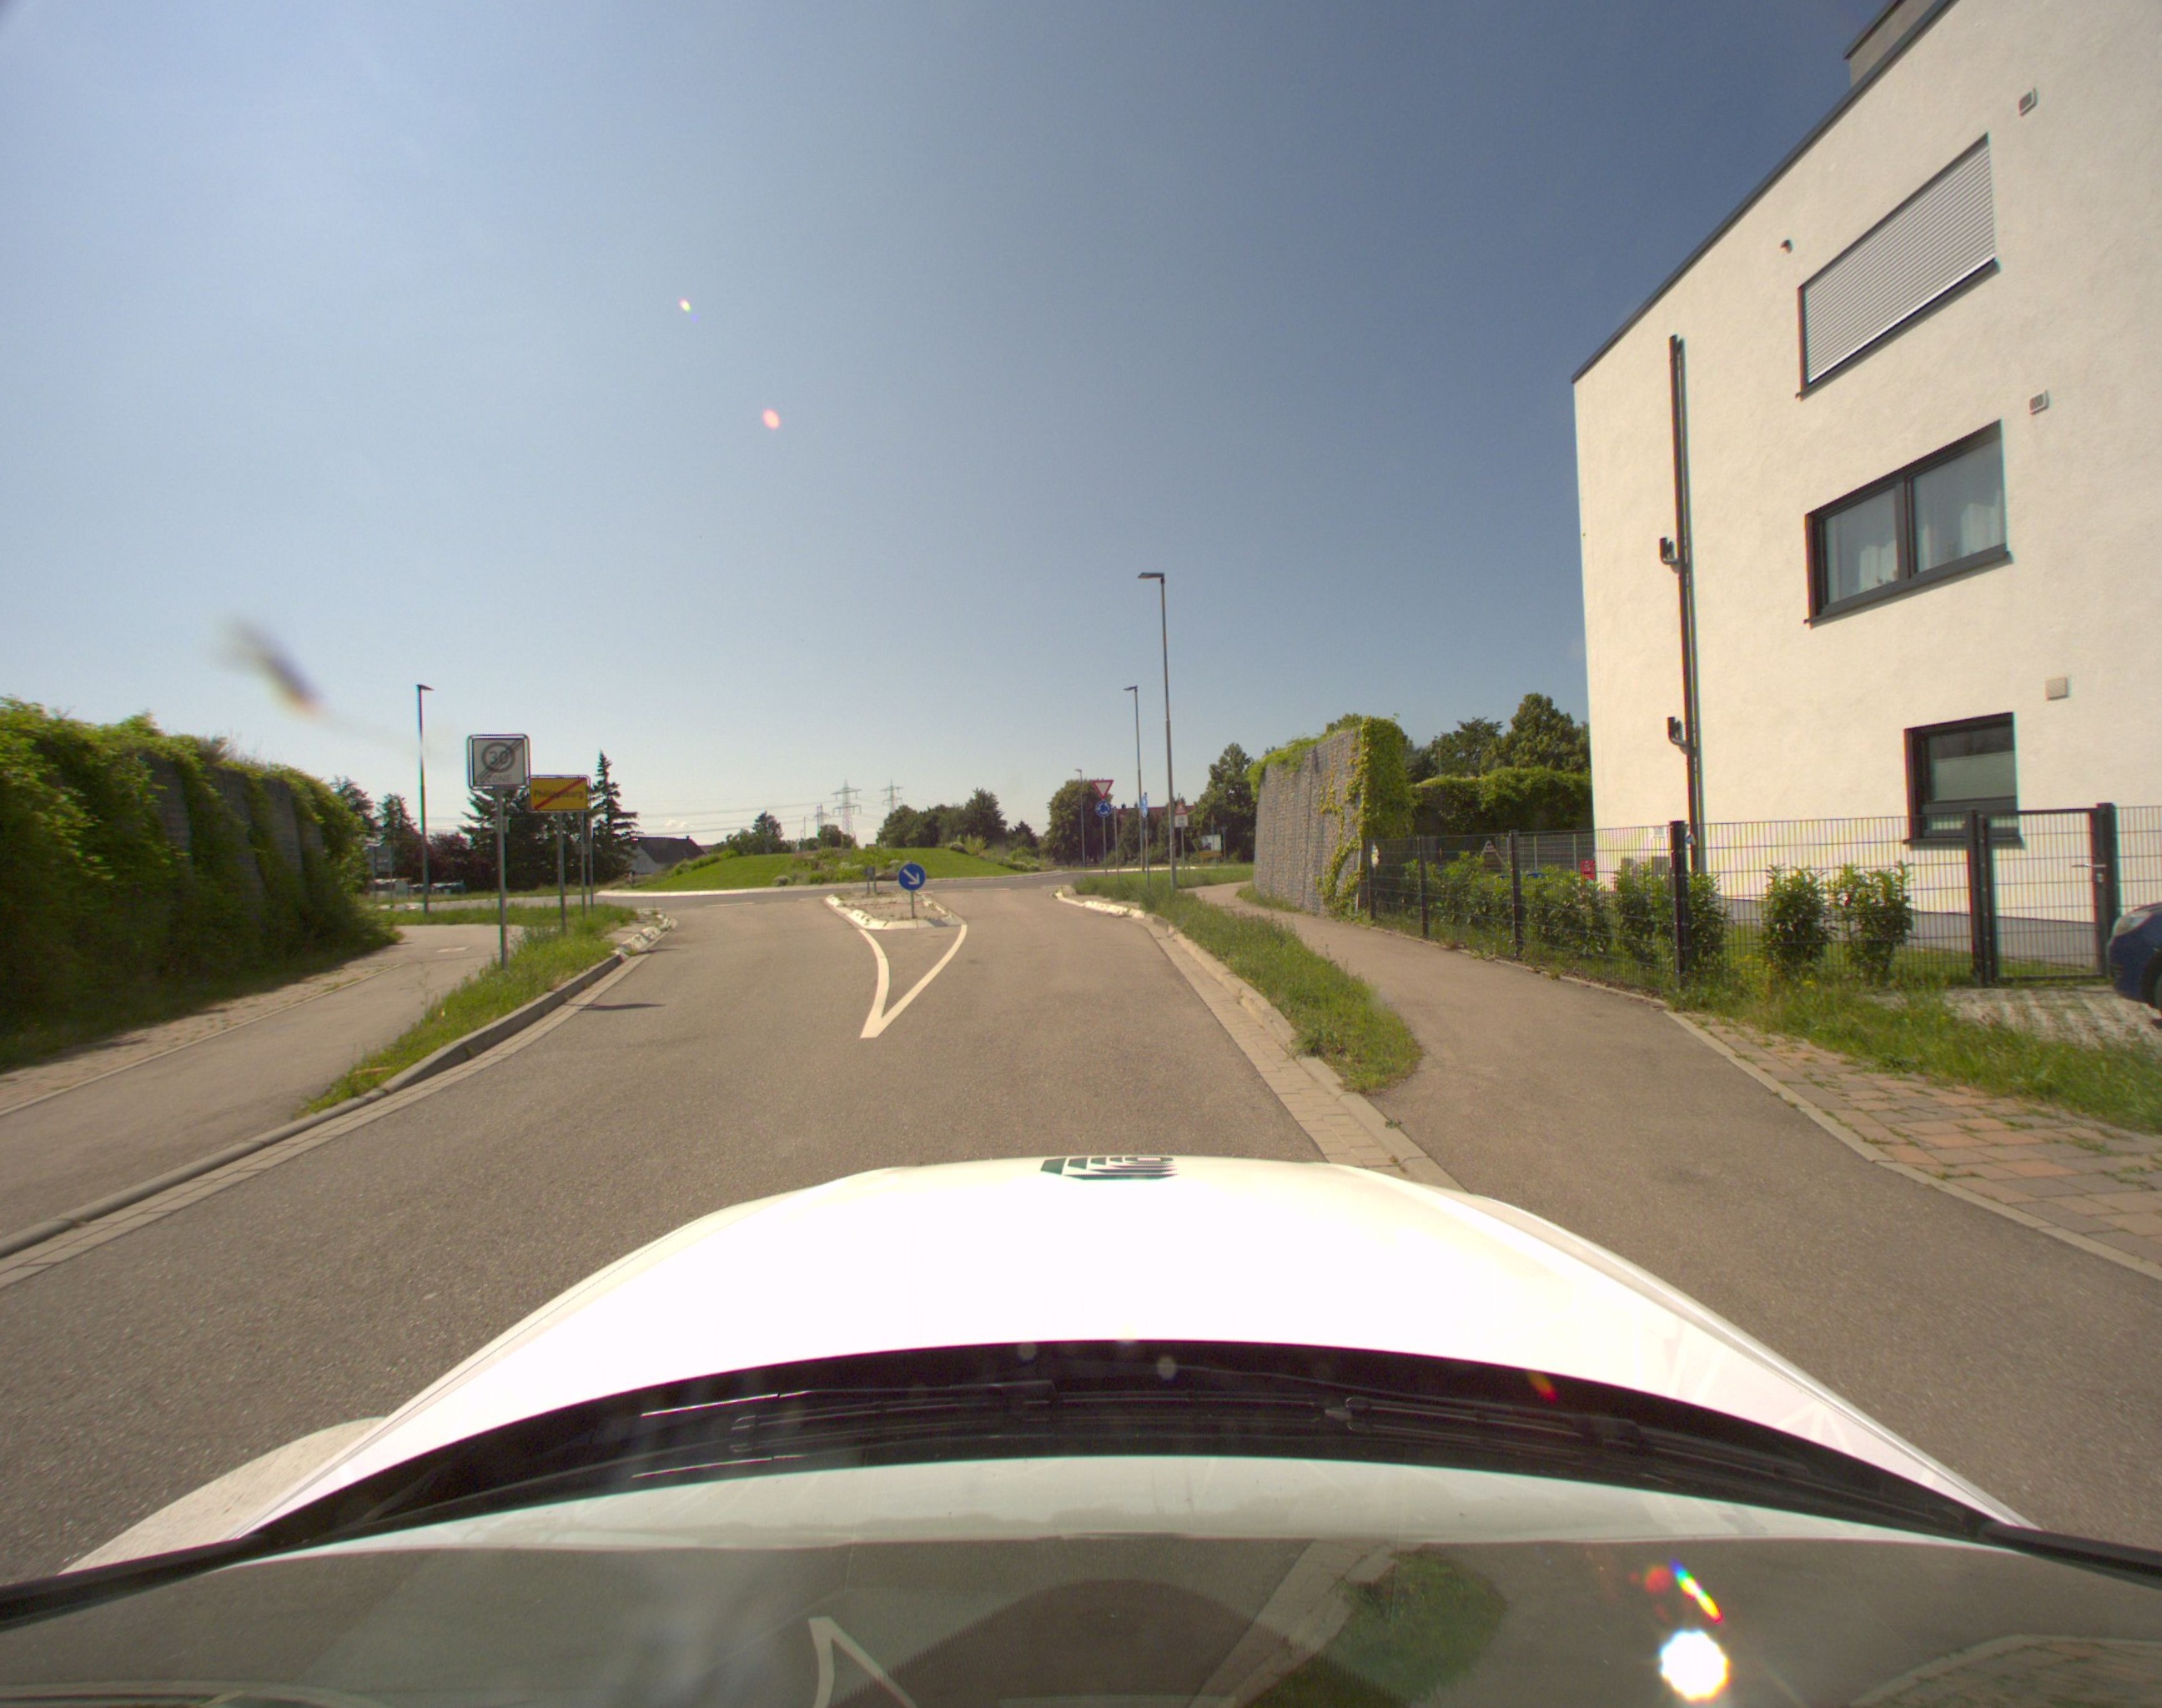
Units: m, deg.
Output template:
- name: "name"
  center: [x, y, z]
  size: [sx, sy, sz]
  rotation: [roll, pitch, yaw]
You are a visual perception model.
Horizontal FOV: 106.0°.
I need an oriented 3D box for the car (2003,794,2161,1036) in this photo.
- name: "car"
  center: [7.373, 0.366, 3.738]
  size: [1.671, 1.469, 4.117]
  rotation: [-2, 1, 1]
